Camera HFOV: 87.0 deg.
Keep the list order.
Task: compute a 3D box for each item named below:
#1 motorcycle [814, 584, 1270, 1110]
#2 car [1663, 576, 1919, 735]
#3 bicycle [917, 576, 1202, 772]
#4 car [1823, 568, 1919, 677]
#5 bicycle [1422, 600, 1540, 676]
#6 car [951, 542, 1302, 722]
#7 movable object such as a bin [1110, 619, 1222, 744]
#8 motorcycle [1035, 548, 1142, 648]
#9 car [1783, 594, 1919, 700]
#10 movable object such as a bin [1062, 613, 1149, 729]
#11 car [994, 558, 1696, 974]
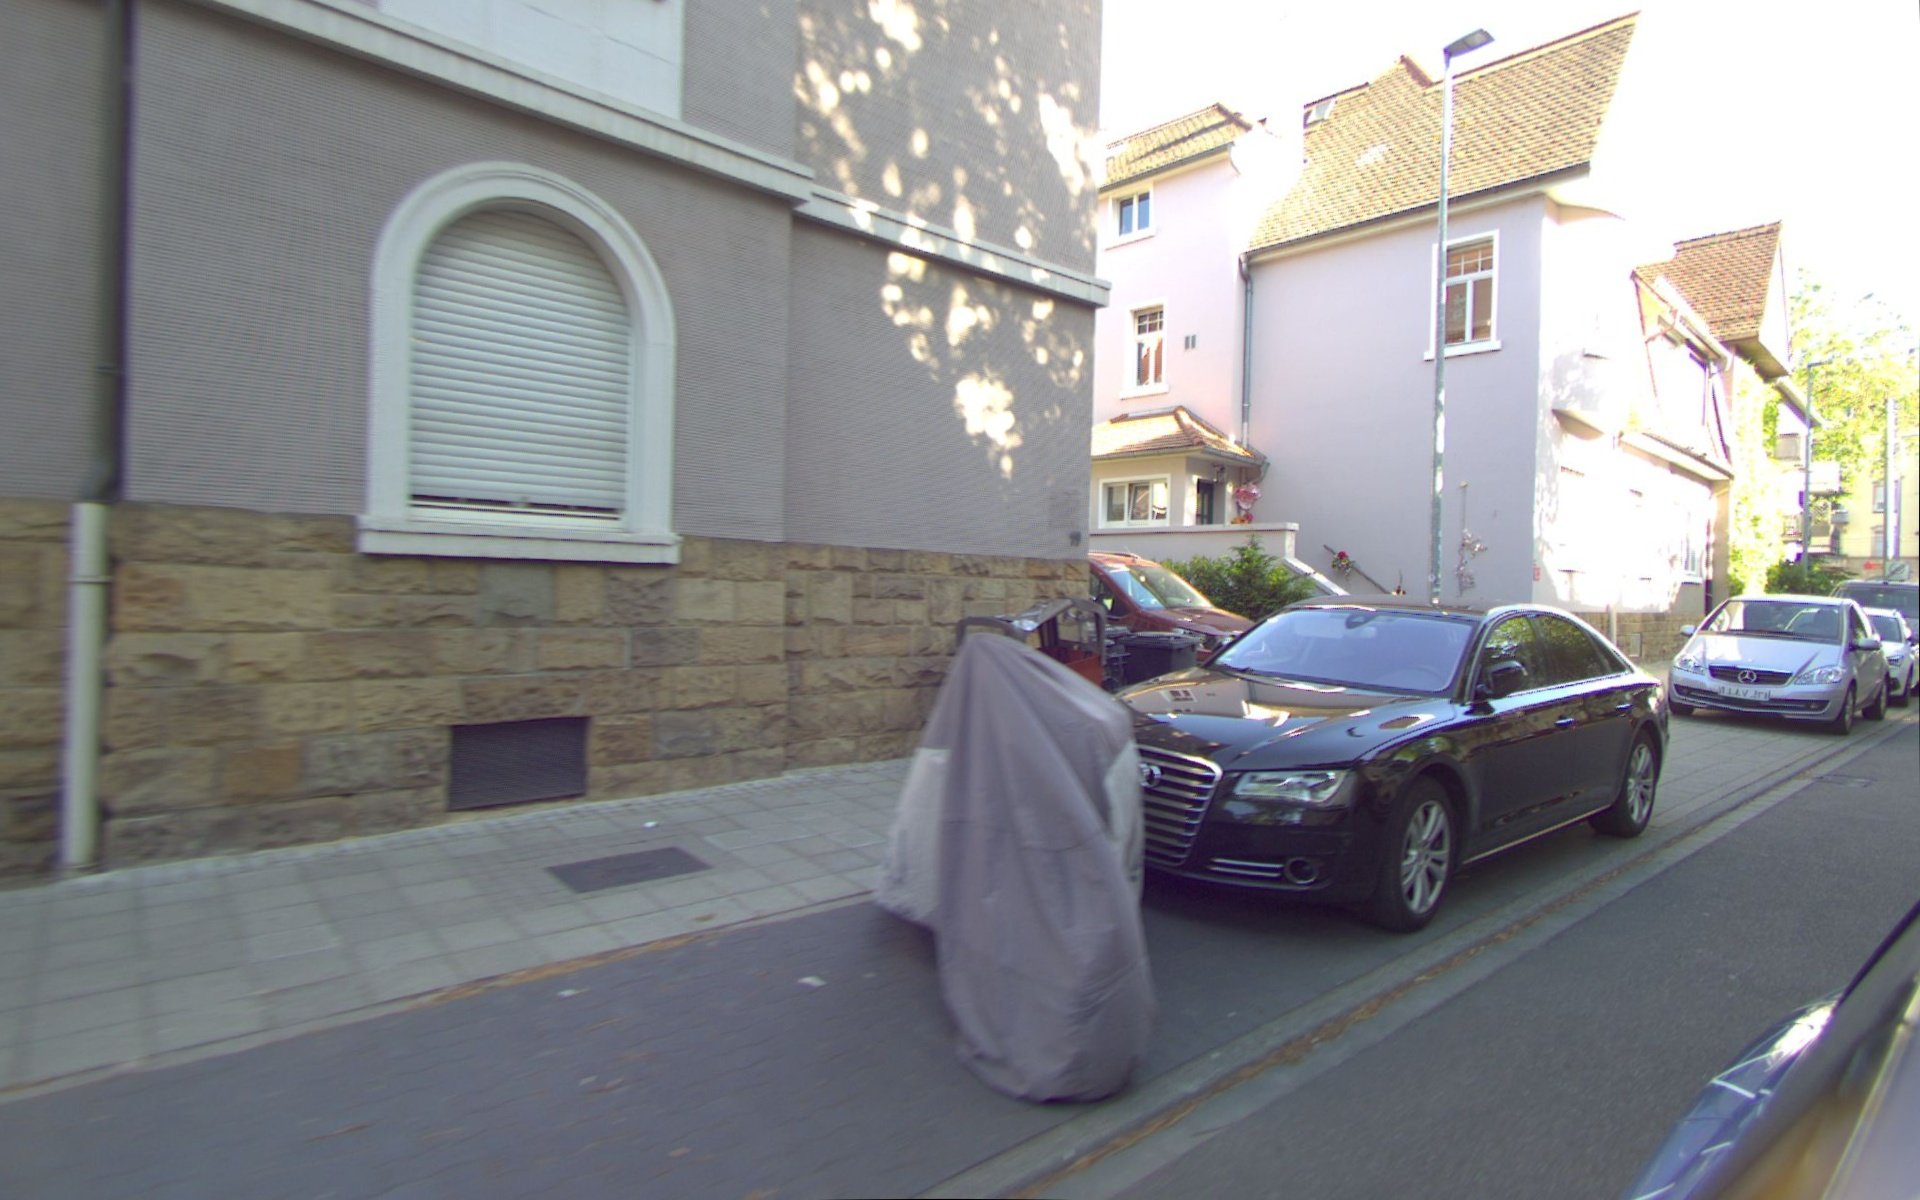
[{"bbox_3d":[0.118,0.678,3.984,0.902,1.355,2.206,1,3,-20],"label":"motorcycle"},{"bbox_3d":[10.696,0.604,12.910,3.929,1.619,1.794,1,4,-40],"label":"car"},{"bbox_3d":[0.857,0.515,8.269,2.211,1.354,1.084,0,2,-42],"label":"bicycle"},{"bbox_3d":[19.157,0.419,20.432,4.698,1.939,1.869,0,3,-41],"label":"car"},{"bbox_3d":[8.322,0.580,16.218,0.389,1.114,1.638,1,1,-42],"label":"bicycle"},{"bbox_3d":[1.896,0.238,12.609,1.734,1.865,4.147,0,3,-41],"label":"car"},{"bbox_3d":[1.926,0.727,9.436,0.814,1.052,0.648,1,2,-43],"label":"movable object such as a bin"},{"bbox_3d":[2.224,-0.068,17.229,0.784,1.293,2.145,-1,10,36],"label":"motorcycle"},{"bbox_3d":[14.895,0.677,16.539,4.364,1.475,1.681,0,2,-44],"label":"car"},{"bbox_3d":[1.424,0.673,9.896,0.607,1.052,0.569,1,2,-43],"label":"movable object such as a bin"},{"bbox_3d":[2.517,0.598,5.954,4.526,1.511,1.859,0,3,-40],"label":"car"}]
